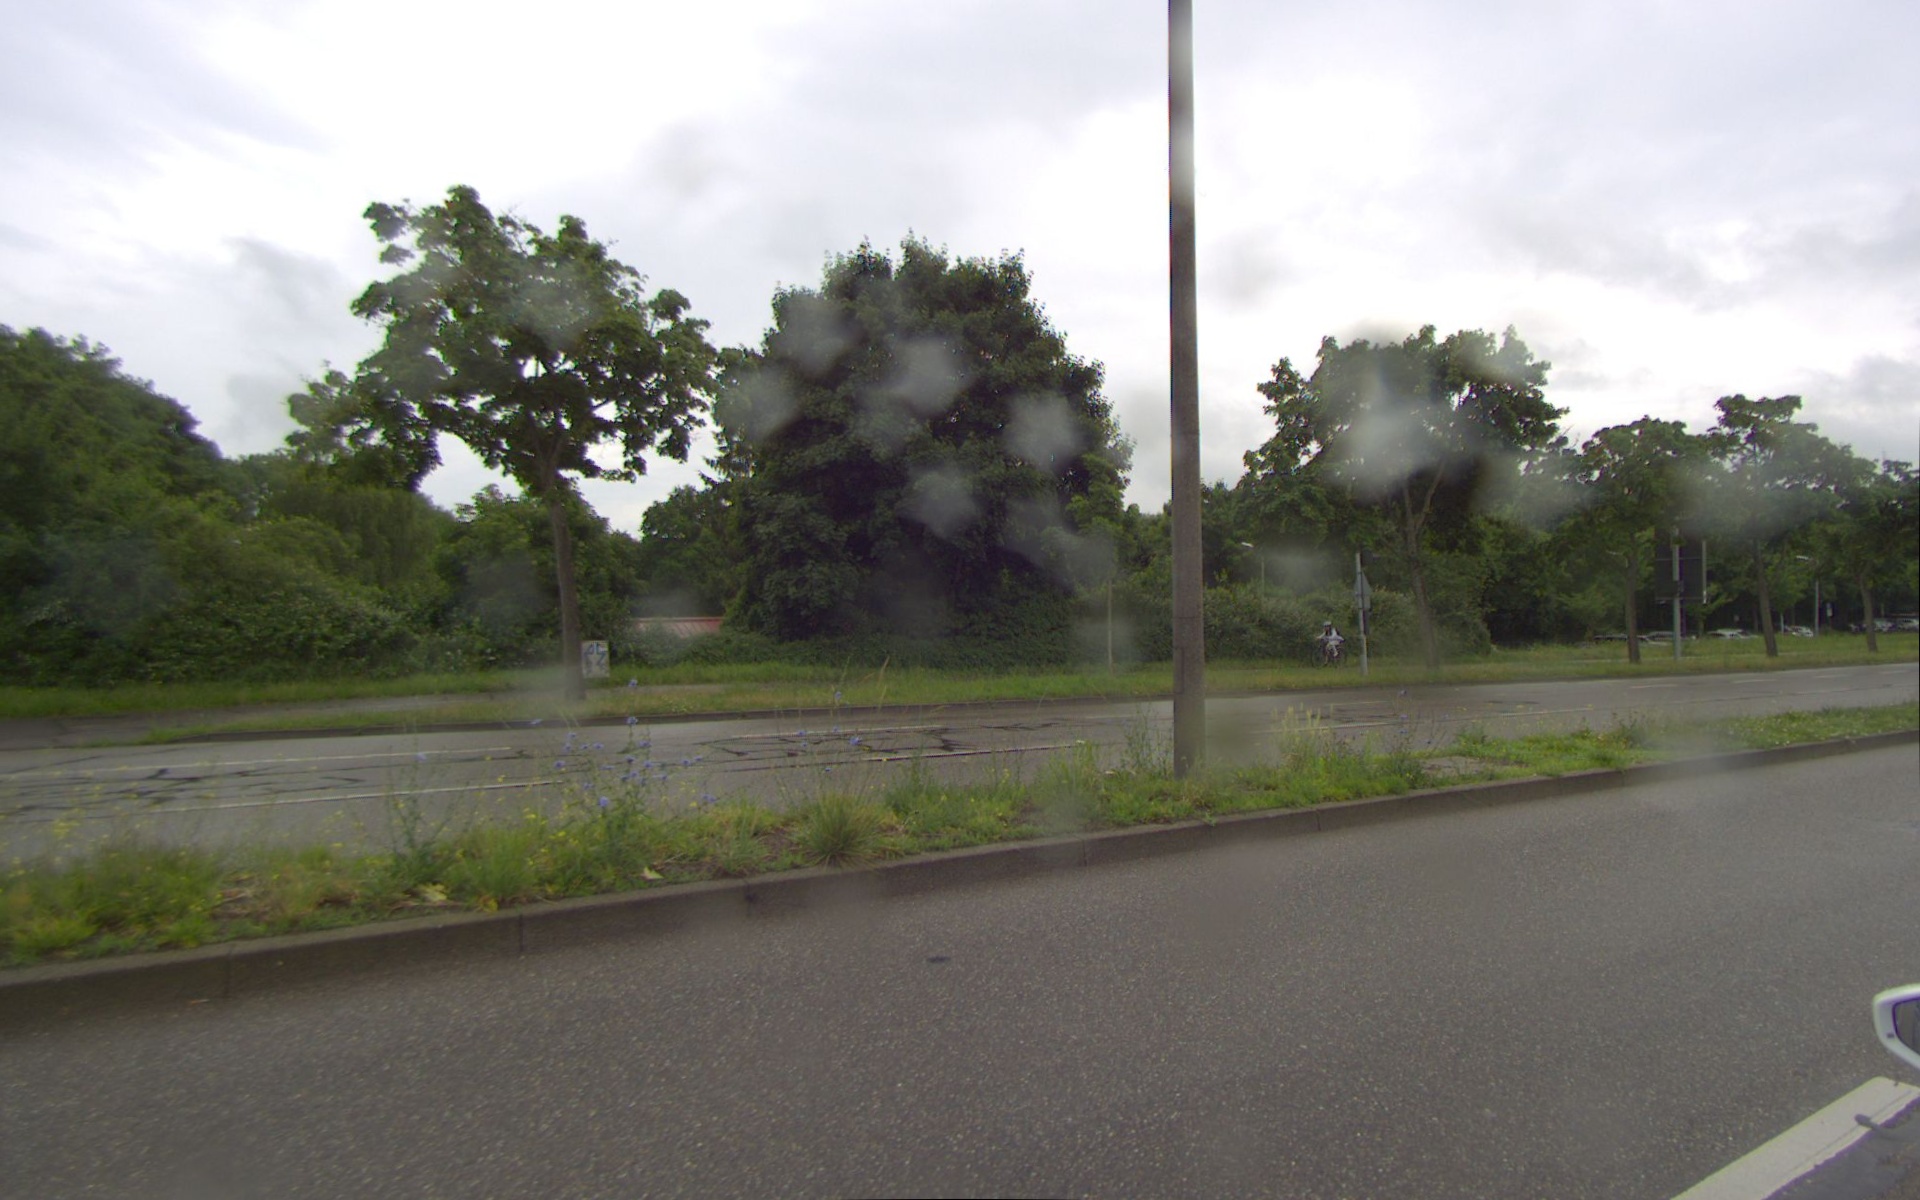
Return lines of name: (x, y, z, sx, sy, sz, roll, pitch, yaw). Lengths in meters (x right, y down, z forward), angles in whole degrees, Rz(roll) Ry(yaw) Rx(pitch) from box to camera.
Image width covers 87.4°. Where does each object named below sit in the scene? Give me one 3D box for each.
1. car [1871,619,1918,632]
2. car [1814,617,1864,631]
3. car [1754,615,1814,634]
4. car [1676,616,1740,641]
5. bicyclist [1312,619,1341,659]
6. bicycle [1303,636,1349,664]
car: (108.986, 2.916, 117.190, 1.511, 1.471, 3.807, 0, -1, -37)
car: (92.335, 2.555, 105.522, 1.474, 1.445, 3.706, 0, -1, -37)
car: (76.516, 2.267, 93.292, 1.894, 1.662, 3.958, 0, -1, -37)
car: (62.350, 2.380, 83.760, 1.982, 2.040, 3.958, 0, -1, -37)
bicyclist: (12.235, 1.292, 33.556, 0.799, 1.320, 0.519, 1, 0, -30)
bicycle: (12.226, 1.674, 33.555, 1.614, 0.897, 0.519, 1, 0, -31)
